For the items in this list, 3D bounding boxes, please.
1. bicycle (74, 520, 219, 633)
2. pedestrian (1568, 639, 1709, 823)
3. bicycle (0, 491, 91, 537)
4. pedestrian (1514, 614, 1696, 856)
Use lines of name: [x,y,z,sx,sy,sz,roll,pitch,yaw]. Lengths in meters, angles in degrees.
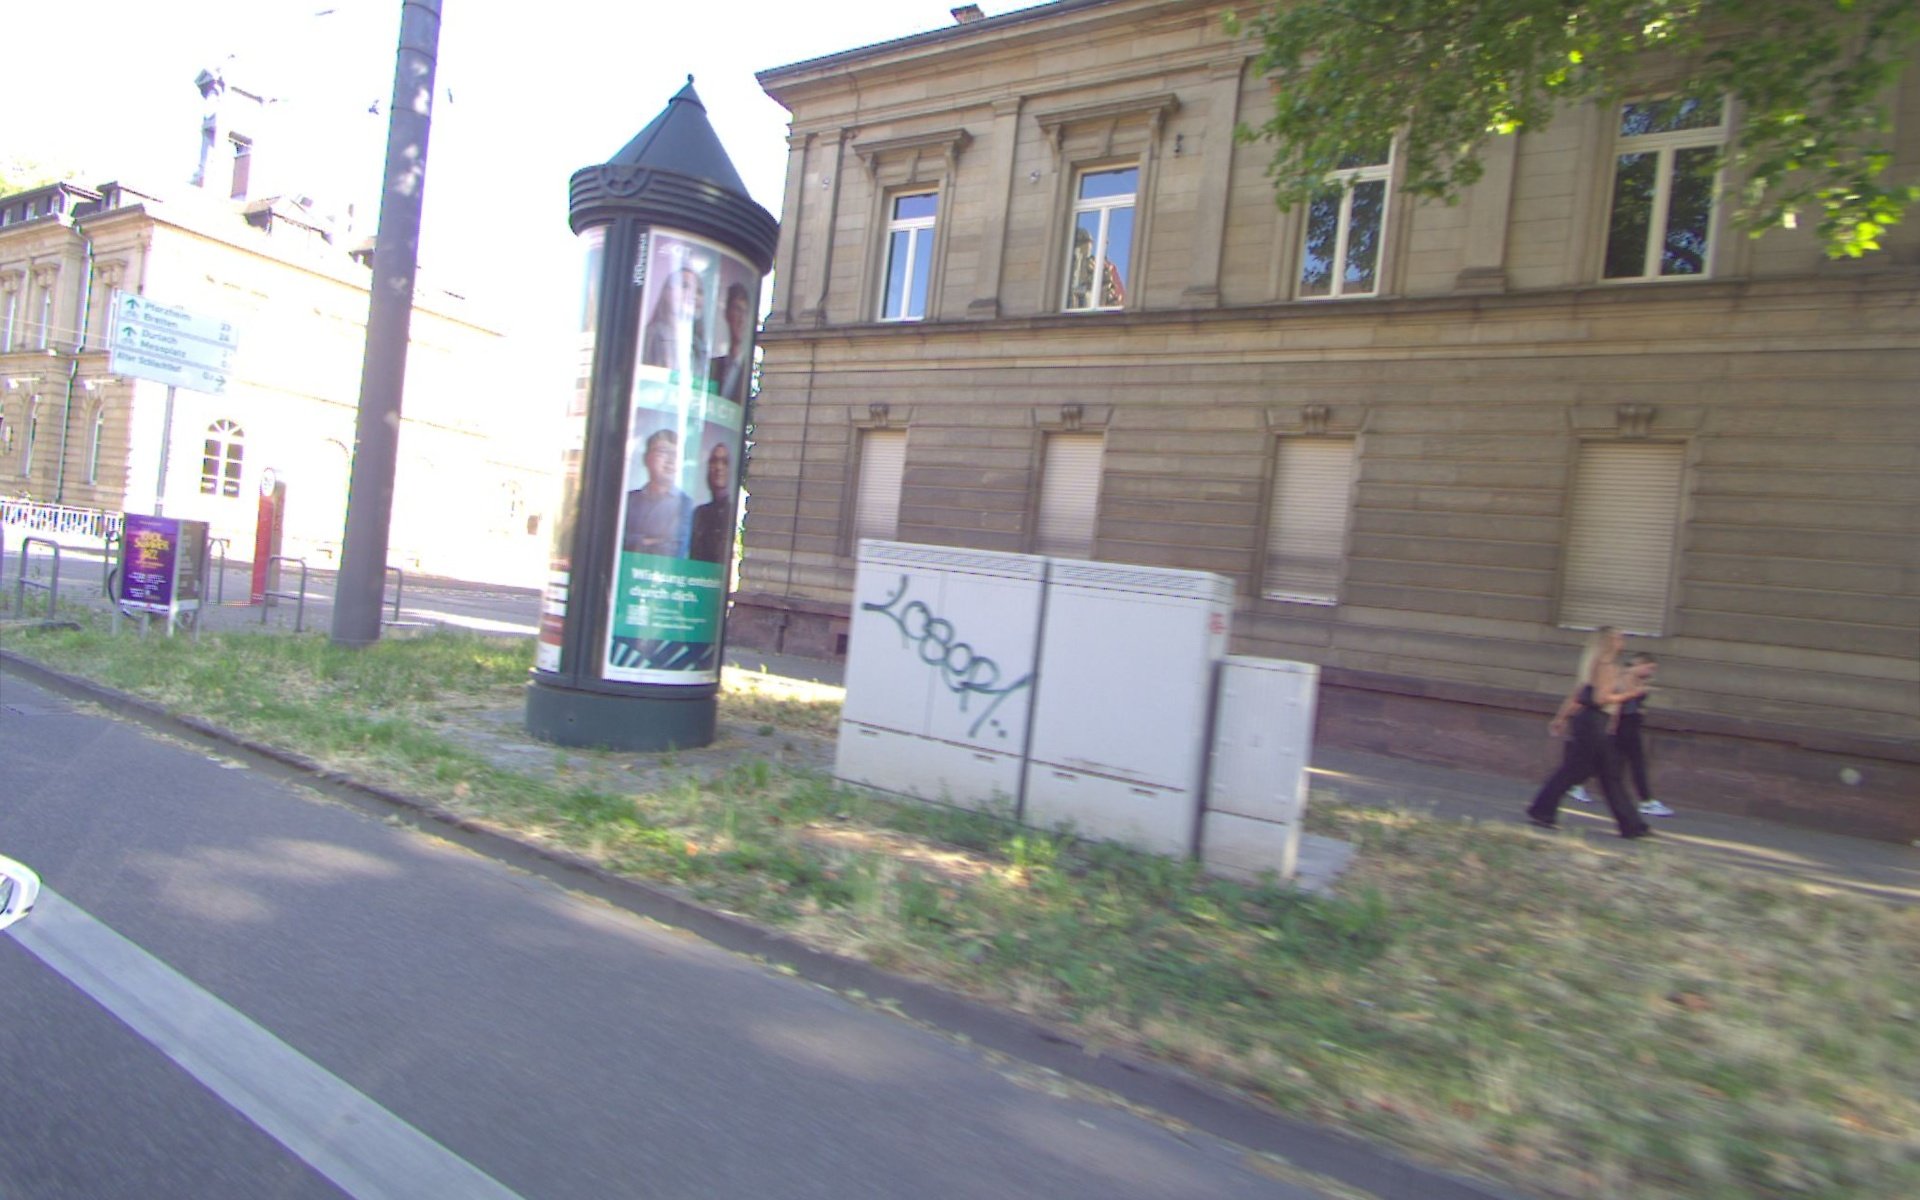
bicycle: [-9.155,-0.271,11.305,1.740,1.075,0.541,7,1,27]
pedestrian: [6.722,1.268,10.028,0.970,1.626,0.770,7,1,32]
bicycle: [-29.719,-2.775,32.643,0.752,1.225,2.139,7,1,28]
pedestrian: [5.201,1.048,8.165,1.025,1.731,0.770,7,1,32]
